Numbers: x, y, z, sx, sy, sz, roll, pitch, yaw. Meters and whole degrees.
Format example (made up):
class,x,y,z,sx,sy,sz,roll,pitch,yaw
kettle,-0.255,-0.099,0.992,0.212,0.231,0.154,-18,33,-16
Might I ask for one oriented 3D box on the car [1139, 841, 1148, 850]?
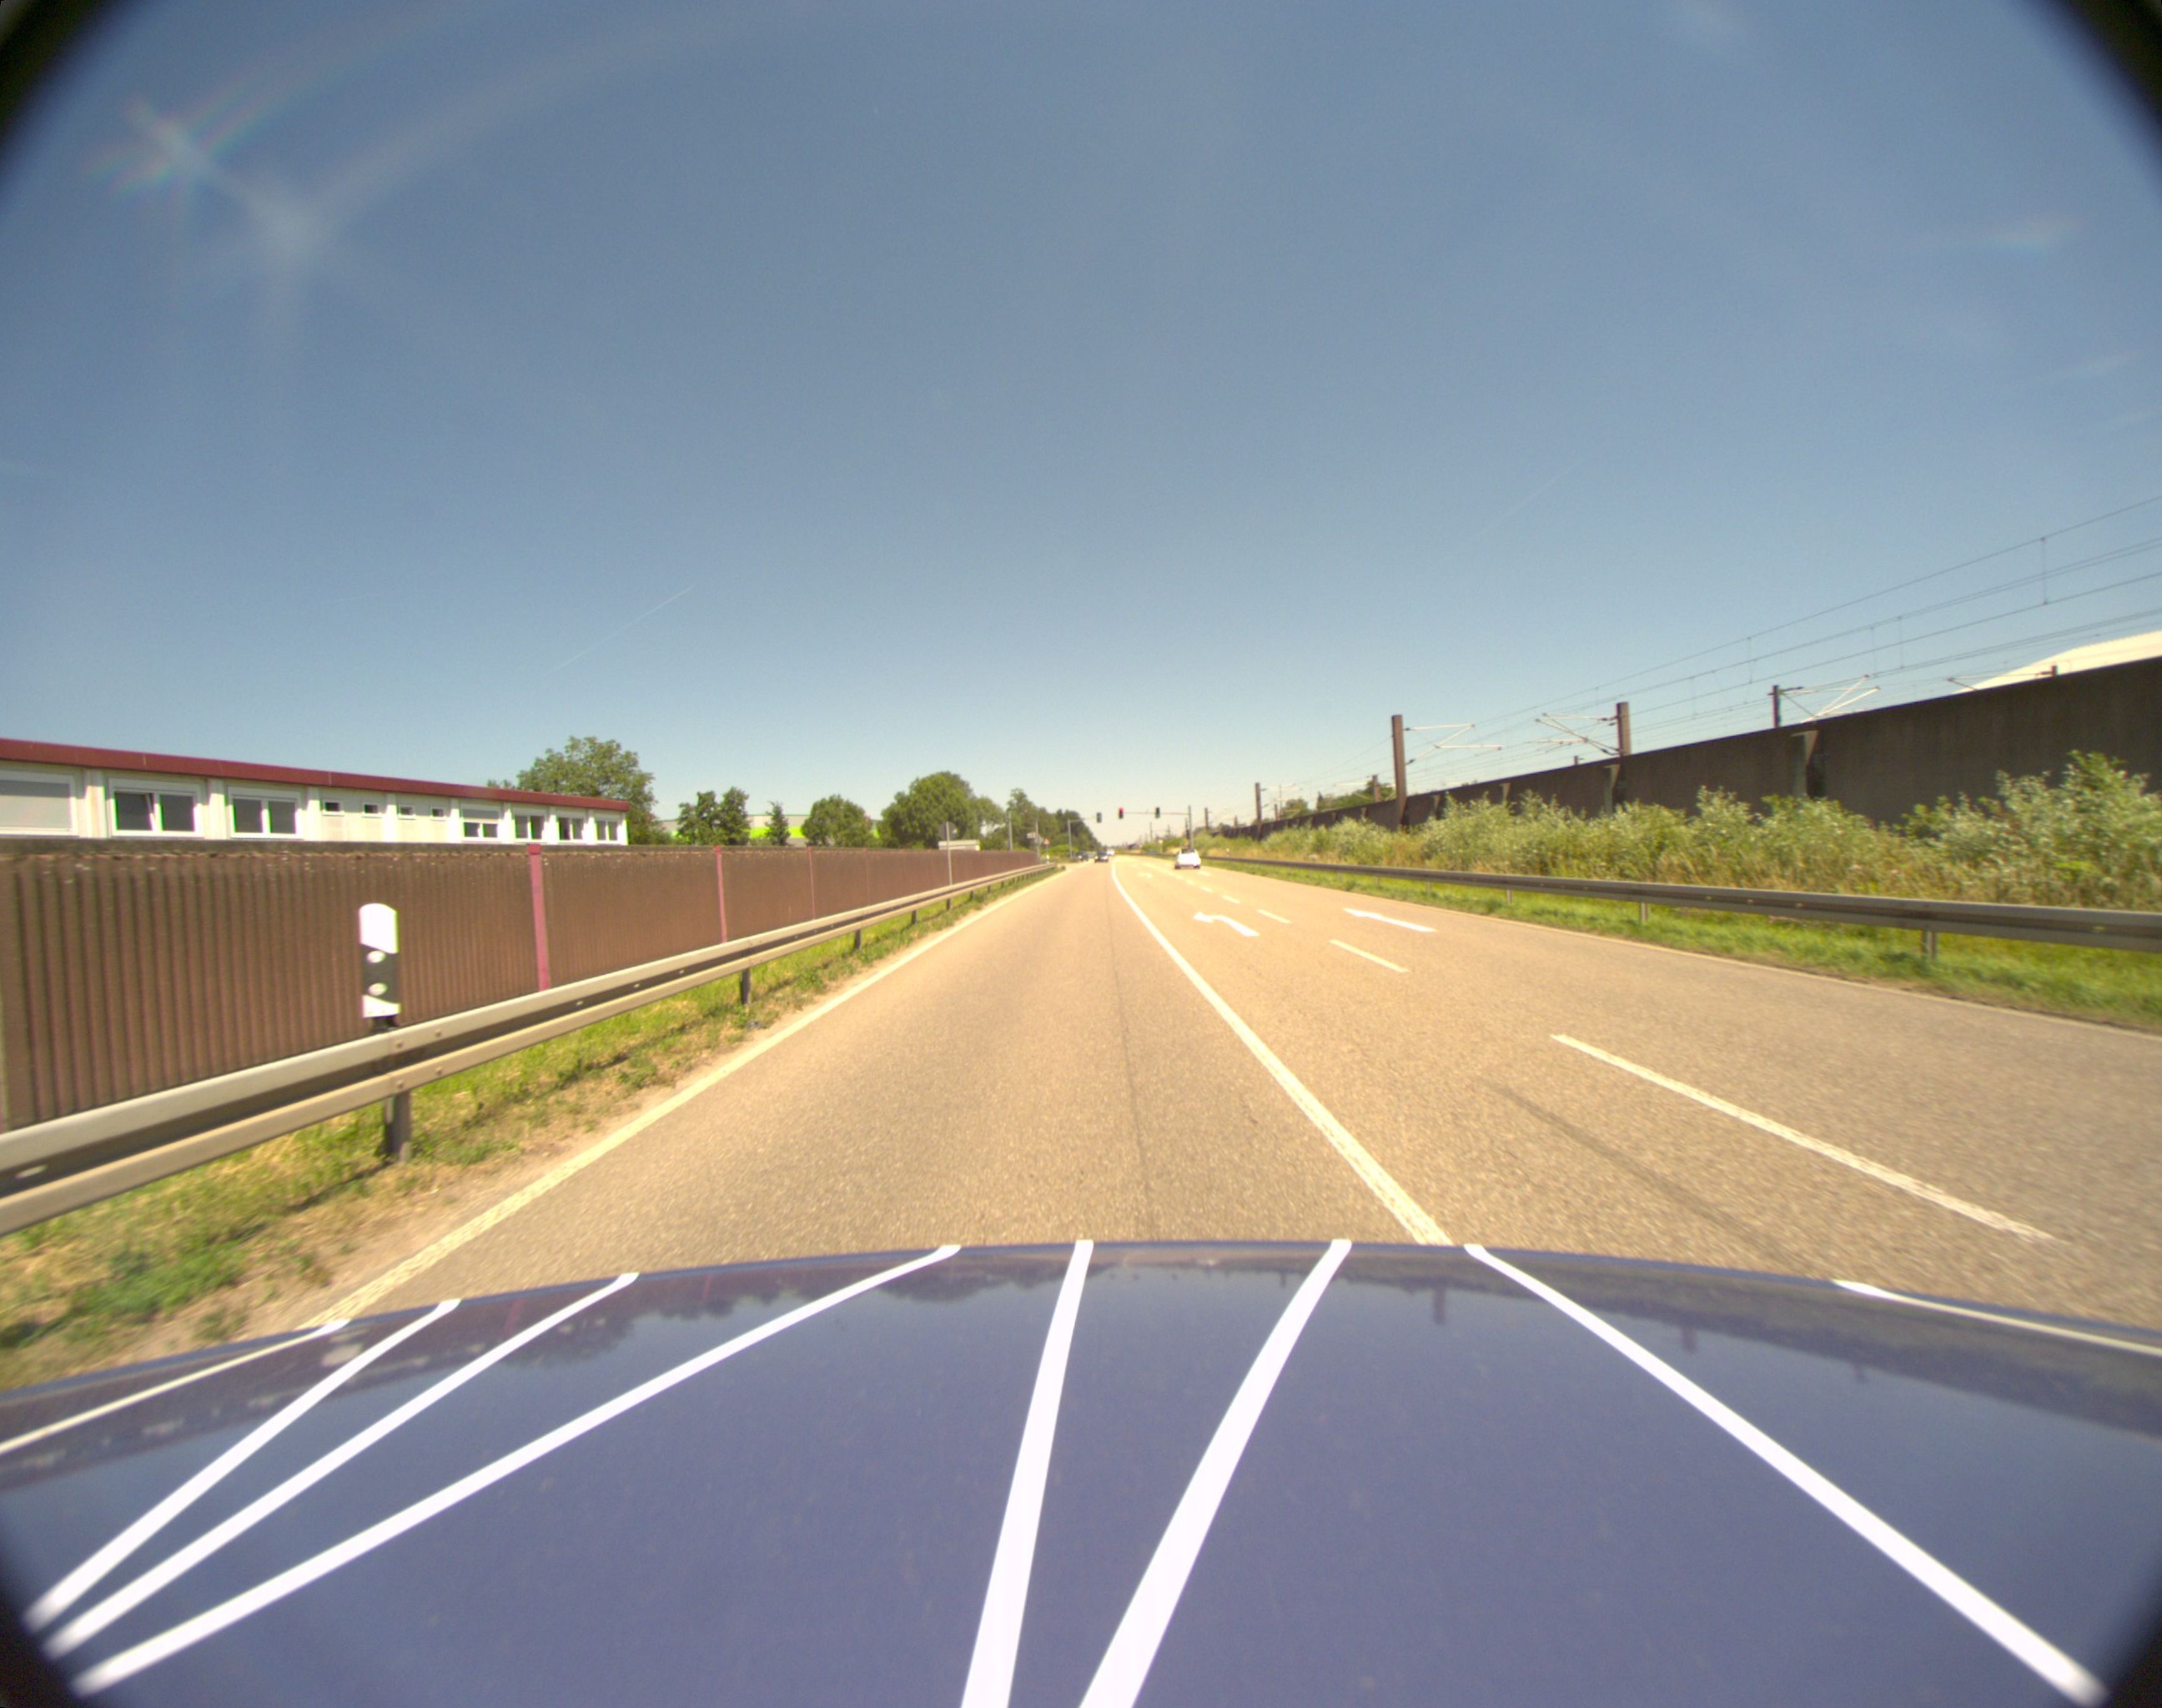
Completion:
class,x,y,z,sx,sy,sz,roll,pitch,yaw
car,15.349,-2.117,186.999,1.998,2.002,4.000,-2,1,1

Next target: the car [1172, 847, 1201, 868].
class,x,y,z,sx,sy,sz,roll,pitch,yaw
car,7.679,0.228,55.398,1.599,1.466,3.773,-2,1,1

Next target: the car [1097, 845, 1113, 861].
class,x,y,z,sx,sy,sz,roll,pitch,yaw
car,3.104,-0.169,99.821,1.998,2.002,4.000,-2,1,1

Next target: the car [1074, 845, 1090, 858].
class,x,y,z,sx,sy,sz,roll,pitch,yaw
car,0.180,-0.428,118.389,1.998,2.002,4.001,-2,1,4

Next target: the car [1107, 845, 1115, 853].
class,x,y,z,sx,sy,sz,roll,pitch,yaw
car,8.229,-1.396,207.763,1.998,2.002,4.000,-2,1,1
